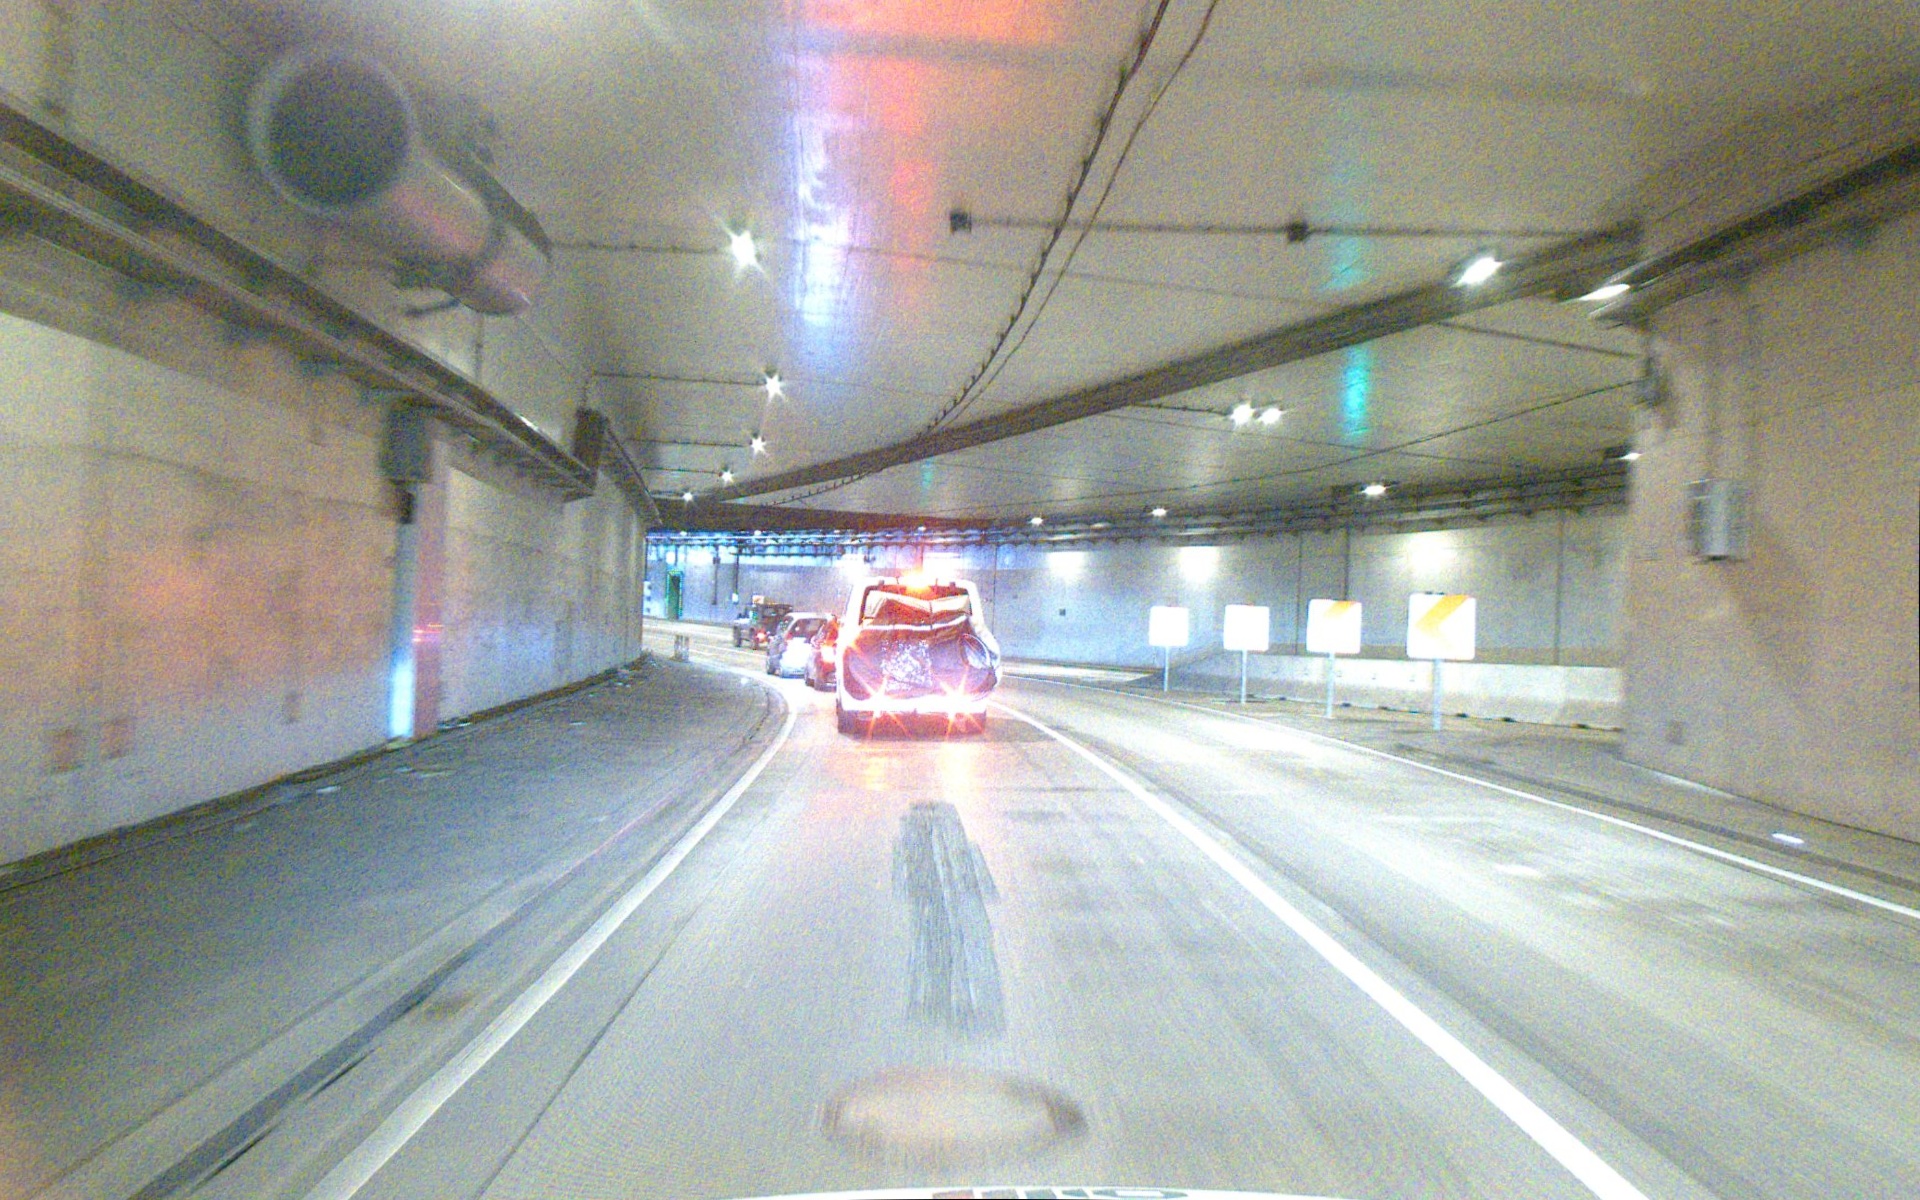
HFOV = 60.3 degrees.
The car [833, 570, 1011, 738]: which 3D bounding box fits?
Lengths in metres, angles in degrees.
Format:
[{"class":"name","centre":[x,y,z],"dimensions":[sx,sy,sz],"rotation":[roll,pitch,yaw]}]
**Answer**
[{"class":"car","centre":[-0.623,0.653,21.238],"dimensions":[1.954,1.880,5.295],"rotation":[1,-1,-5]}]

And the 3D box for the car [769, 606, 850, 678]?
[{"class":"car","centre":[-3.758,1.053,40.913],"dimensions":[1.574,1.622,3.345],"rotation":[3,-3,-12]}]

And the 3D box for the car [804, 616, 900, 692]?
[{"class":"car","centre":[-2.204,1.054,33.042],"dimensions":[1.573,1.420,3.269],"rotation":[1,-1,-10]}]

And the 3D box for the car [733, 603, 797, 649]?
[{"class":"car","centre":[-7.357,0.952,62.216],"dimensions":[1.580,1.658,3.334],"rotation":[-1,0,-21]}]
